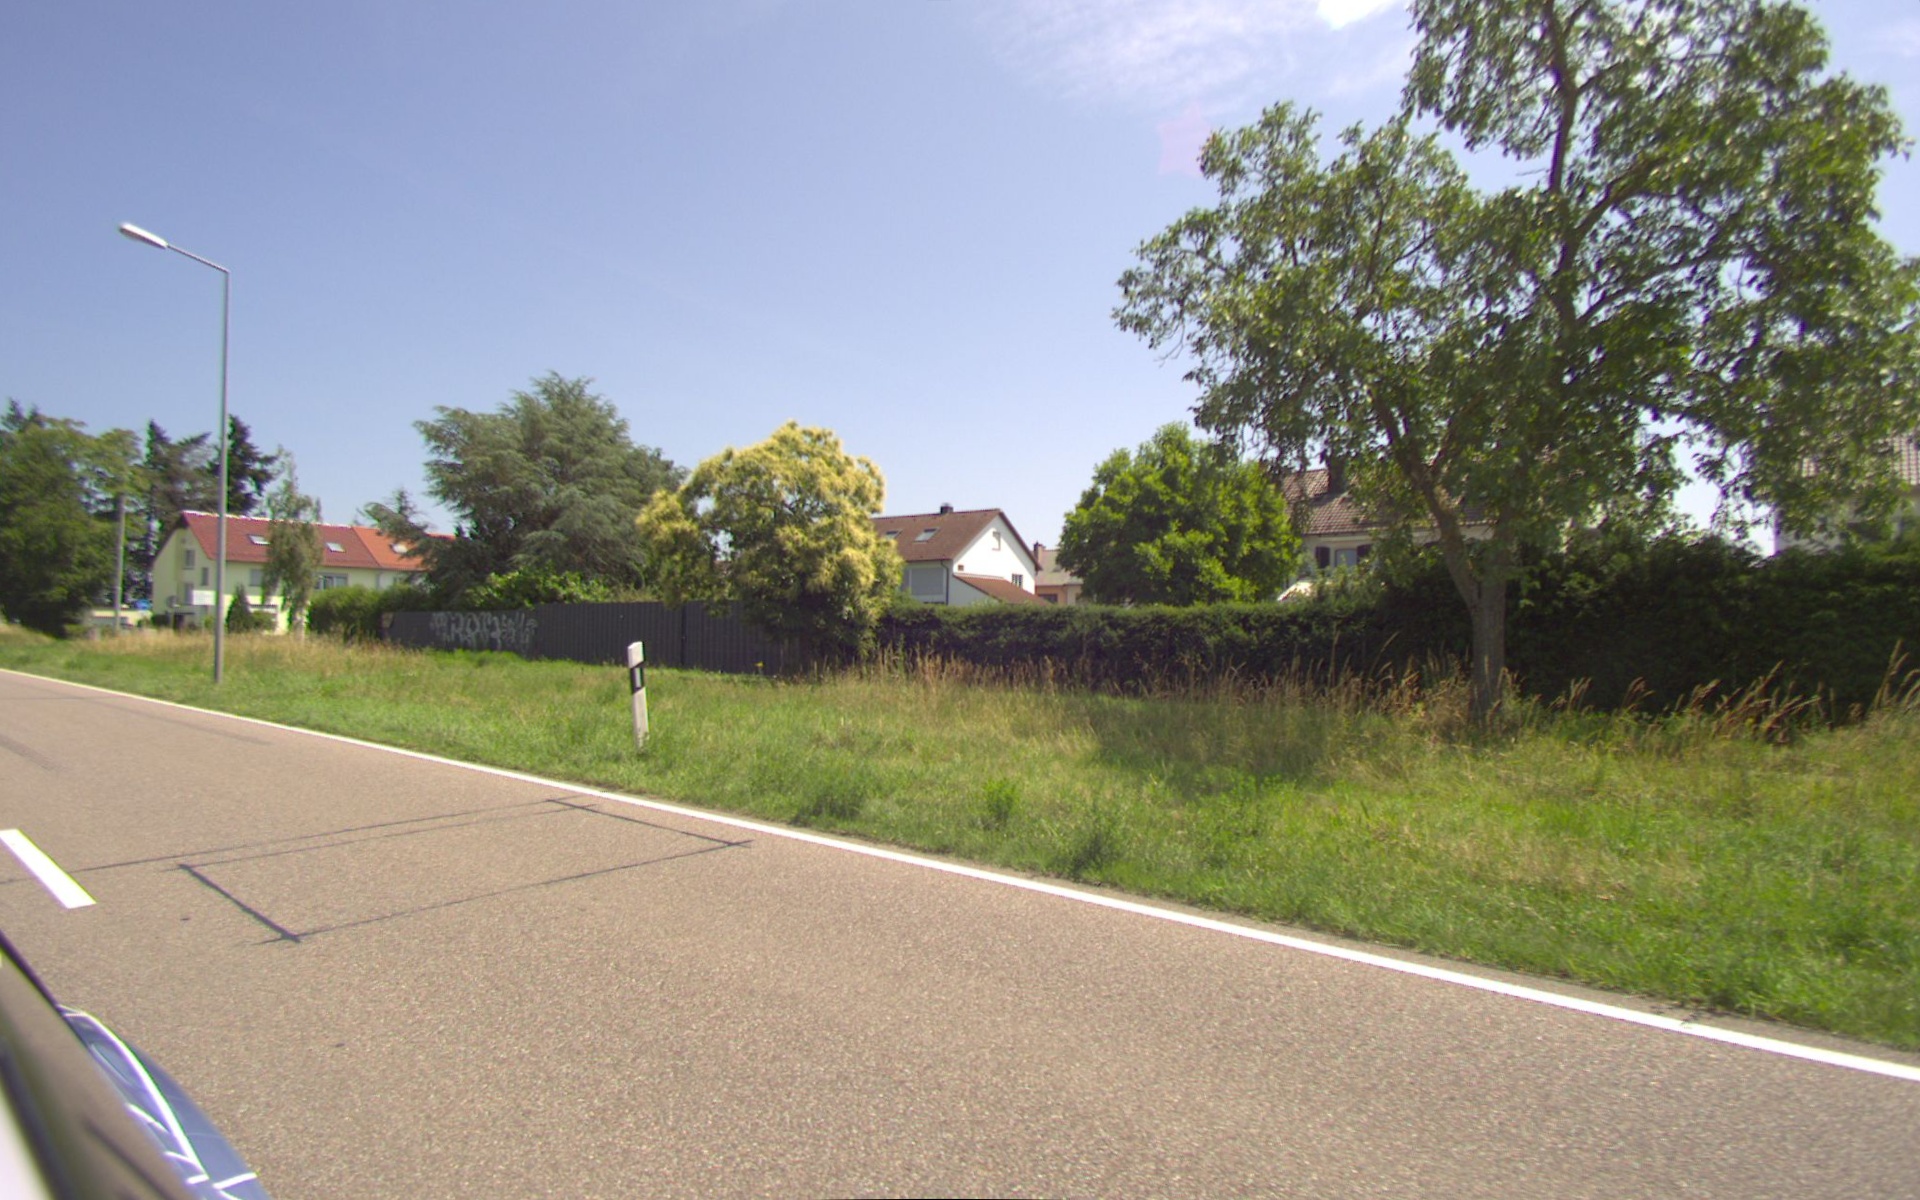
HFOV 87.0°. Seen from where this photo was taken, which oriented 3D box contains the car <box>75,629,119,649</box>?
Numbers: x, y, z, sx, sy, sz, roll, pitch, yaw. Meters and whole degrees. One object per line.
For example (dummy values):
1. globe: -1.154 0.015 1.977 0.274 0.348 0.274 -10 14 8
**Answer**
1. car: -66.930 3.010 78.457 4.179 1.503 1.690 -1 -1 37
